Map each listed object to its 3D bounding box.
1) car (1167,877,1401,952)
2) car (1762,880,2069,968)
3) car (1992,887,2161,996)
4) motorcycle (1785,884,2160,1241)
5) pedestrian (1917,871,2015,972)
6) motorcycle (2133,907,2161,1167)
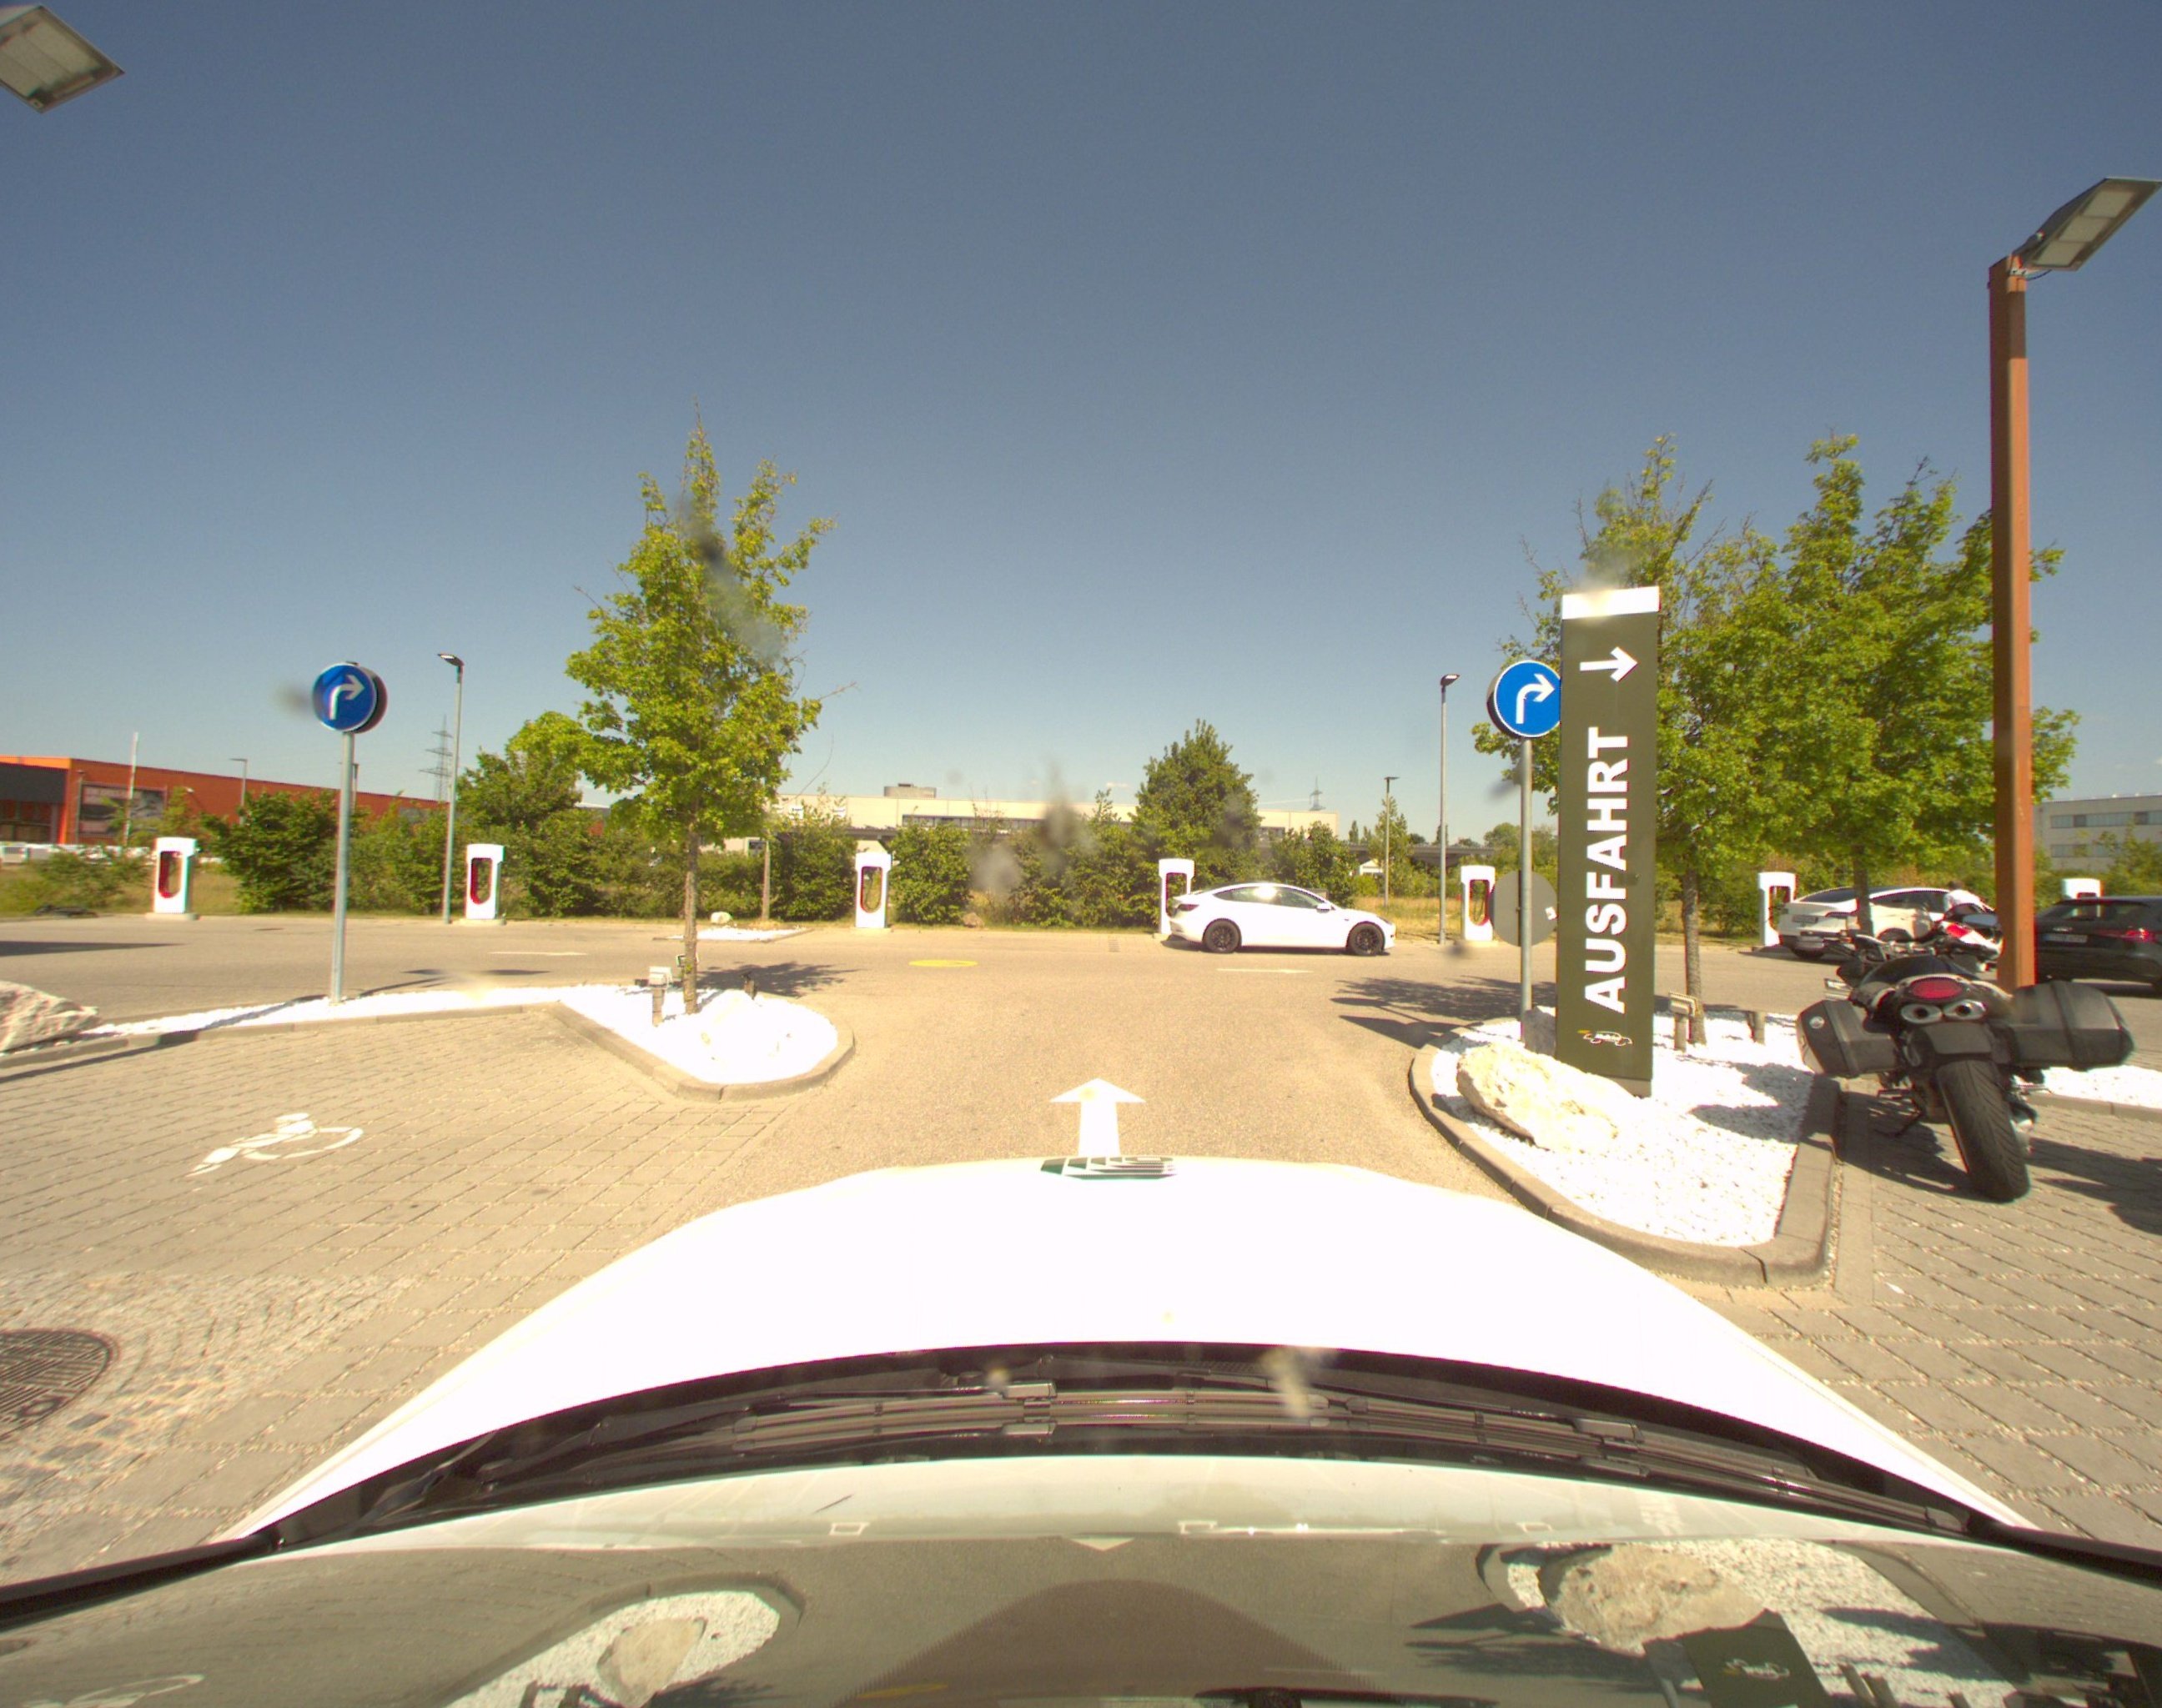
[{"bbox_3d":[4.097,1.219,16.923,4.420,1.378,1.822,1,-2,0],"label":"car"},{"bbox_3d":[17.038,1.395,16.792,4.460,1.600,1.869,1,-1,-1],"label":"car"},{"bbox_3d":[16.132,1.228,11.713,4.187,1.441,1.697,1,-3,-1],"label":"car"},{"bbox_3d":[4.442,0.835,4.284,1.057,1.250,2.266,1,1,42],"label":"motorcycle"},{"bbox_3d":[16.697,1.243,15.391,0.732,1.800,1.035,1,0,-2],"label":"pedestrian"},{"bbox_3d":[5.035,0.876,3.070,0.810,1.231,2.154,1,0,38],"label":"motorcycle"}]
